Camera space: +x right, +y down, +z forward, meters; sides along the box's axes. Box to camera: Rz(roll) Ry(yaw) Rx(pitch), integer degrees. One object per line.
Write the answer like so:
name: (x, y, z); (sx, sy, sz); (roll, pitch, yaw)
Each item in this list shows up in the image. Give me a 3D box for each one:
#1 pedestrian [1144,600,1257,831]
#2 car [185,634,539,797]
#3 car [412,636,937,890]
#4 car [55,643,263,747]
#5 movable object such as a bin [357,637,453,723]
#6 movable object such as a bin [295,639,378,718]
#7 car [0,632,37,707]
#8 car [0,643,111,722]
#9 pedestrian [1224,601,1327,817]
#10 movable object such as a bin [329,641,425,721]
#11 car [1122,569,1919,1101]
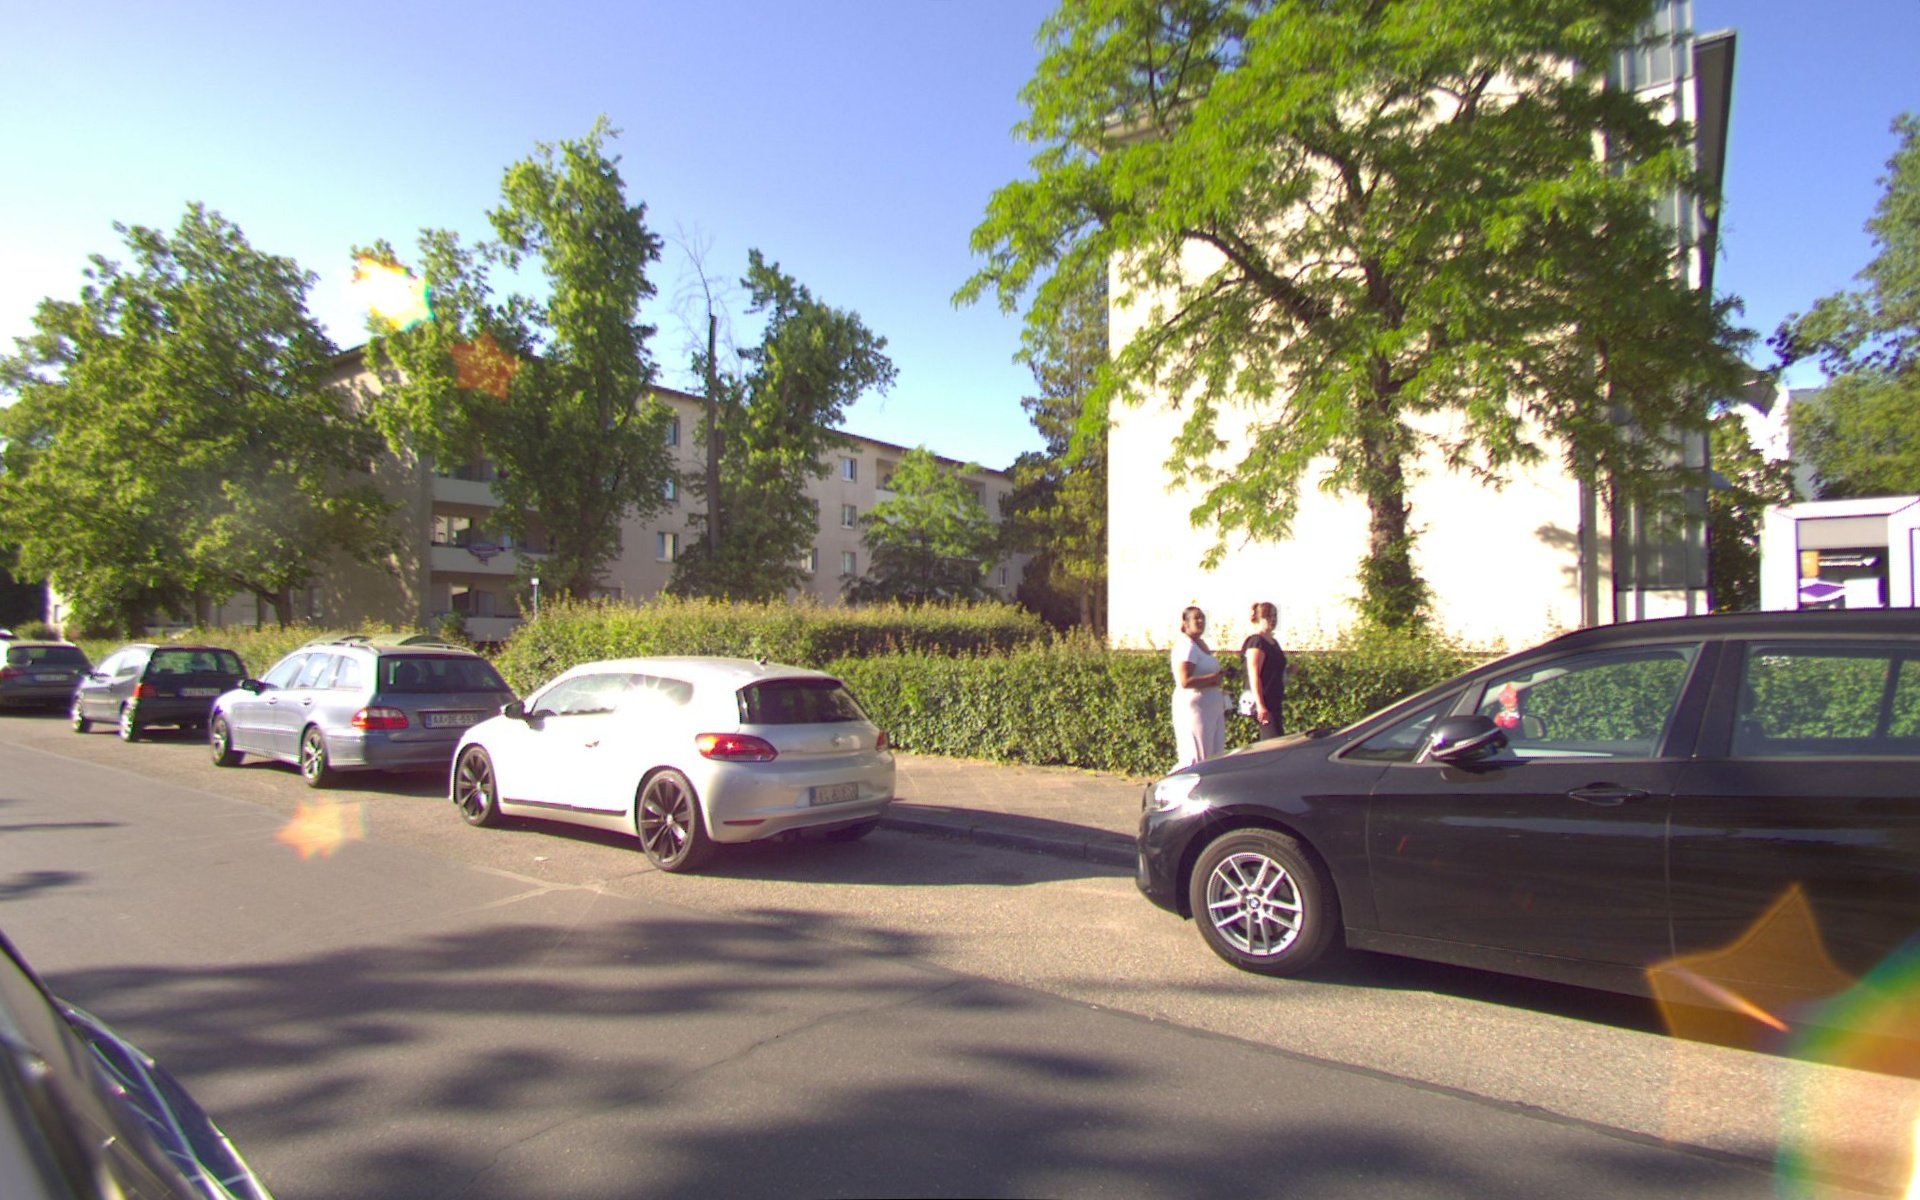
pedestrian: (1.884, 0.859, 7.896); (0.615, 1.692, 0.714); (-2, -3, 36)
car: (-6.948, 1.217, 11.538); (4.893, 1.501, 1.737); (-3, -6, 38)
car: (-2.365, 1.045, 7.856); (4.204, 1.436, 1.737); (-1, -5, 38)
car: (-12.795, 1.448, 16.123); (3.487, 1.475, 1.634); (-2, -4, 35)
movable object such as a bin: (-9.927, 1.401, 18.109); (1.323, 1.426, 0.993); (-2, 0, 34)
movable object such as a bin: (-12.131, 1.501, 19.676); (1.323, 1.426, 0.887); (-2, 0, 34)
car: (-23.522, 1.612, 23.782); (4.380, 1.681, 1.739); (-2, -4, 35)
car: (-19.104, 1.599, 20.500); (4.664, 1.396, 1.739); (-1, -4, 35)
pedestrian: (2.627, 0.869, 8.420); (0.598, 1.692, 0.714); (-2, -3, 36)
movable object such as a bin: (-10.957, 1.486, 19.015); (1.254, 1.376, 1.110); (-2, 0, 34)
car: (3.032, 0.798, 4.215); (4.361, 1.648, 1.738); (-2, -5, 36)
